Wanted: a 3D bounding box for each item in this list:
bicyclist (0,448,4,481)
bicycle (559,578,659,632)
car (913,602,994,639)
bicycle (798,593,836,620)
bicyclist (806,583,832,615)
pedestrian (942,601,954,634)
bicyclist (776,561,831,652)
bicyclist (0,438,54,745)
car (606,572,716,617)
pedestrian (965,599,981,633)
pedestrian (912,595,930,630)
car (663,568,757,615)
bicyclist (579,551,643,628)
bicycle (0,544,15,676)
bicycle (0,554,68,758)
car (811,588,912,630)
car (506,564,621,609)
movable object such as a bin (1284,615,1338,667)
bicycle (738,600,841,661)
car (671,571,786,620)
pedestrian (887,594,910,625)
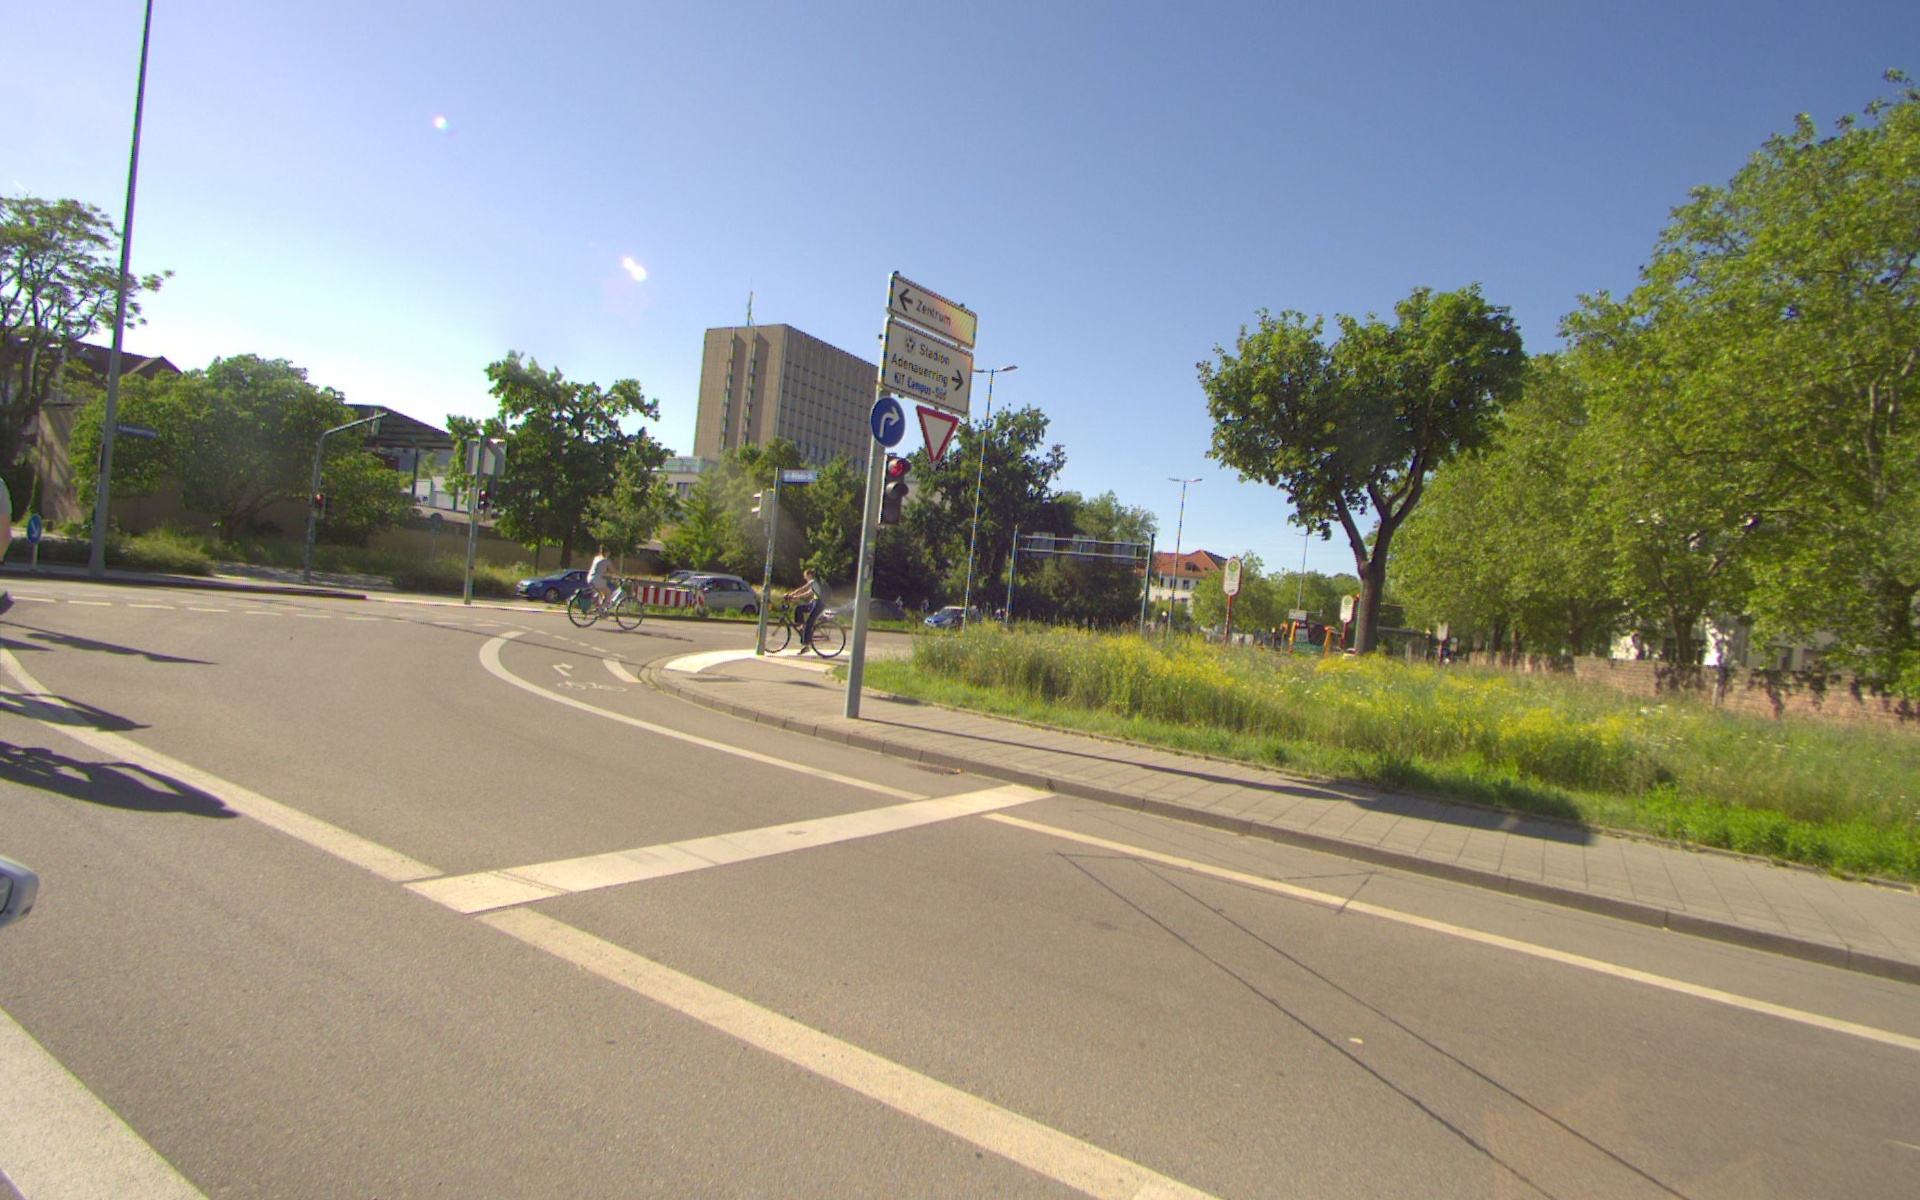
[{"bbox_3d":[-8.144,-0.453,7.794,1.123,1.614,0.679,7,0,32],"label":"bicyclist"},{"bbox_3d":[-7.445,0.116,21.416,0.514,1.000,1.965,7,1,39],"label":"bicycle"},{"bbox_3d":[-0.300,1.047,50.456,1.916,1.415,3.986,6,0,37],"label":"car"},{"bbox_3d":[-6.536,0.294,46.022,0.602,1.046,1.681,7,0,37],"label":"bicycle"},{"bbox_3d":[-6.459,-0.035,46.066,0.602,1.360,0.874,7,1,37],"label":"bicyclist"},{"bbox_3d":[-0.917,1.334,77.169,0.401,2.451,0.467,6,-1,34],"label":"pedestrian"},{"bbox_3d":[-3.062,0.120,19.701,0.898,1.667,0.630,6,1,-9],"label":"bicyclist"},{"bbox_3d":[-6.225,-0.108,6.077,1.123,1.813,0.684,7,0,32],"label":"bicyclist"},{"bbox_3d":[-12.305,-0.203,41.570,1.767,1.415,3.986,7,0,37],"label":"car"},{"bbox_3d":[1.020,1.237,77.101,0.710,2.451,0.585,6,-1,34],"label":"pedestrian"},{"bbox_3d":[-2.856,0.944,73.802,0.660,2.451,0.770,6,-1,34],"label":"pedestrian"},{"bbox_3d":[-11.848,-0.370,47.795,1.767,1.771,3.986,7,0,37],"label":"car"},{"bbox_3d":[-7.415,-0.212,21.406,0.509,1.548,1.067,7,2,39],"label":"bicyclist"},{"bbox_3d":[-8.182,0.026,7.809,1.890,1.102,0.690,6,-1,32],"label":"bicycle"},{"bbox_3d":[-6.228,0.244,6.058,1.890,1.102,0.690,6,-1,32],"label":"bicycle"},{"bbox_3d":[-4.315,0.432,44.629,1.767,1.415,4.557,7,0,37],"label":"car"},{"bbox_3d":[-16.216,-0.529,41.317,1.767,1.415,3.986,7,0,37],"label":"car"},{"bbox_3d":[25.013,3.016,71.366,2.952,2.896,9.194,7,-2,22],"label":"movable object such as a bin"},{"bbox_3d":[-3.319,0.586,19.673,1.856,0.970,0.635,7,1,-10],"label":"bicycle"},{"bbox_3d":[-8.745,-0.133,38.288,1.767,1.415,3.986,7,0,37],"label":"car"},{"bbox_3d":[-4.327,0.679,70.694,0.752,2.039,1.267,7,1,36],"label":"pedestrian"}]
